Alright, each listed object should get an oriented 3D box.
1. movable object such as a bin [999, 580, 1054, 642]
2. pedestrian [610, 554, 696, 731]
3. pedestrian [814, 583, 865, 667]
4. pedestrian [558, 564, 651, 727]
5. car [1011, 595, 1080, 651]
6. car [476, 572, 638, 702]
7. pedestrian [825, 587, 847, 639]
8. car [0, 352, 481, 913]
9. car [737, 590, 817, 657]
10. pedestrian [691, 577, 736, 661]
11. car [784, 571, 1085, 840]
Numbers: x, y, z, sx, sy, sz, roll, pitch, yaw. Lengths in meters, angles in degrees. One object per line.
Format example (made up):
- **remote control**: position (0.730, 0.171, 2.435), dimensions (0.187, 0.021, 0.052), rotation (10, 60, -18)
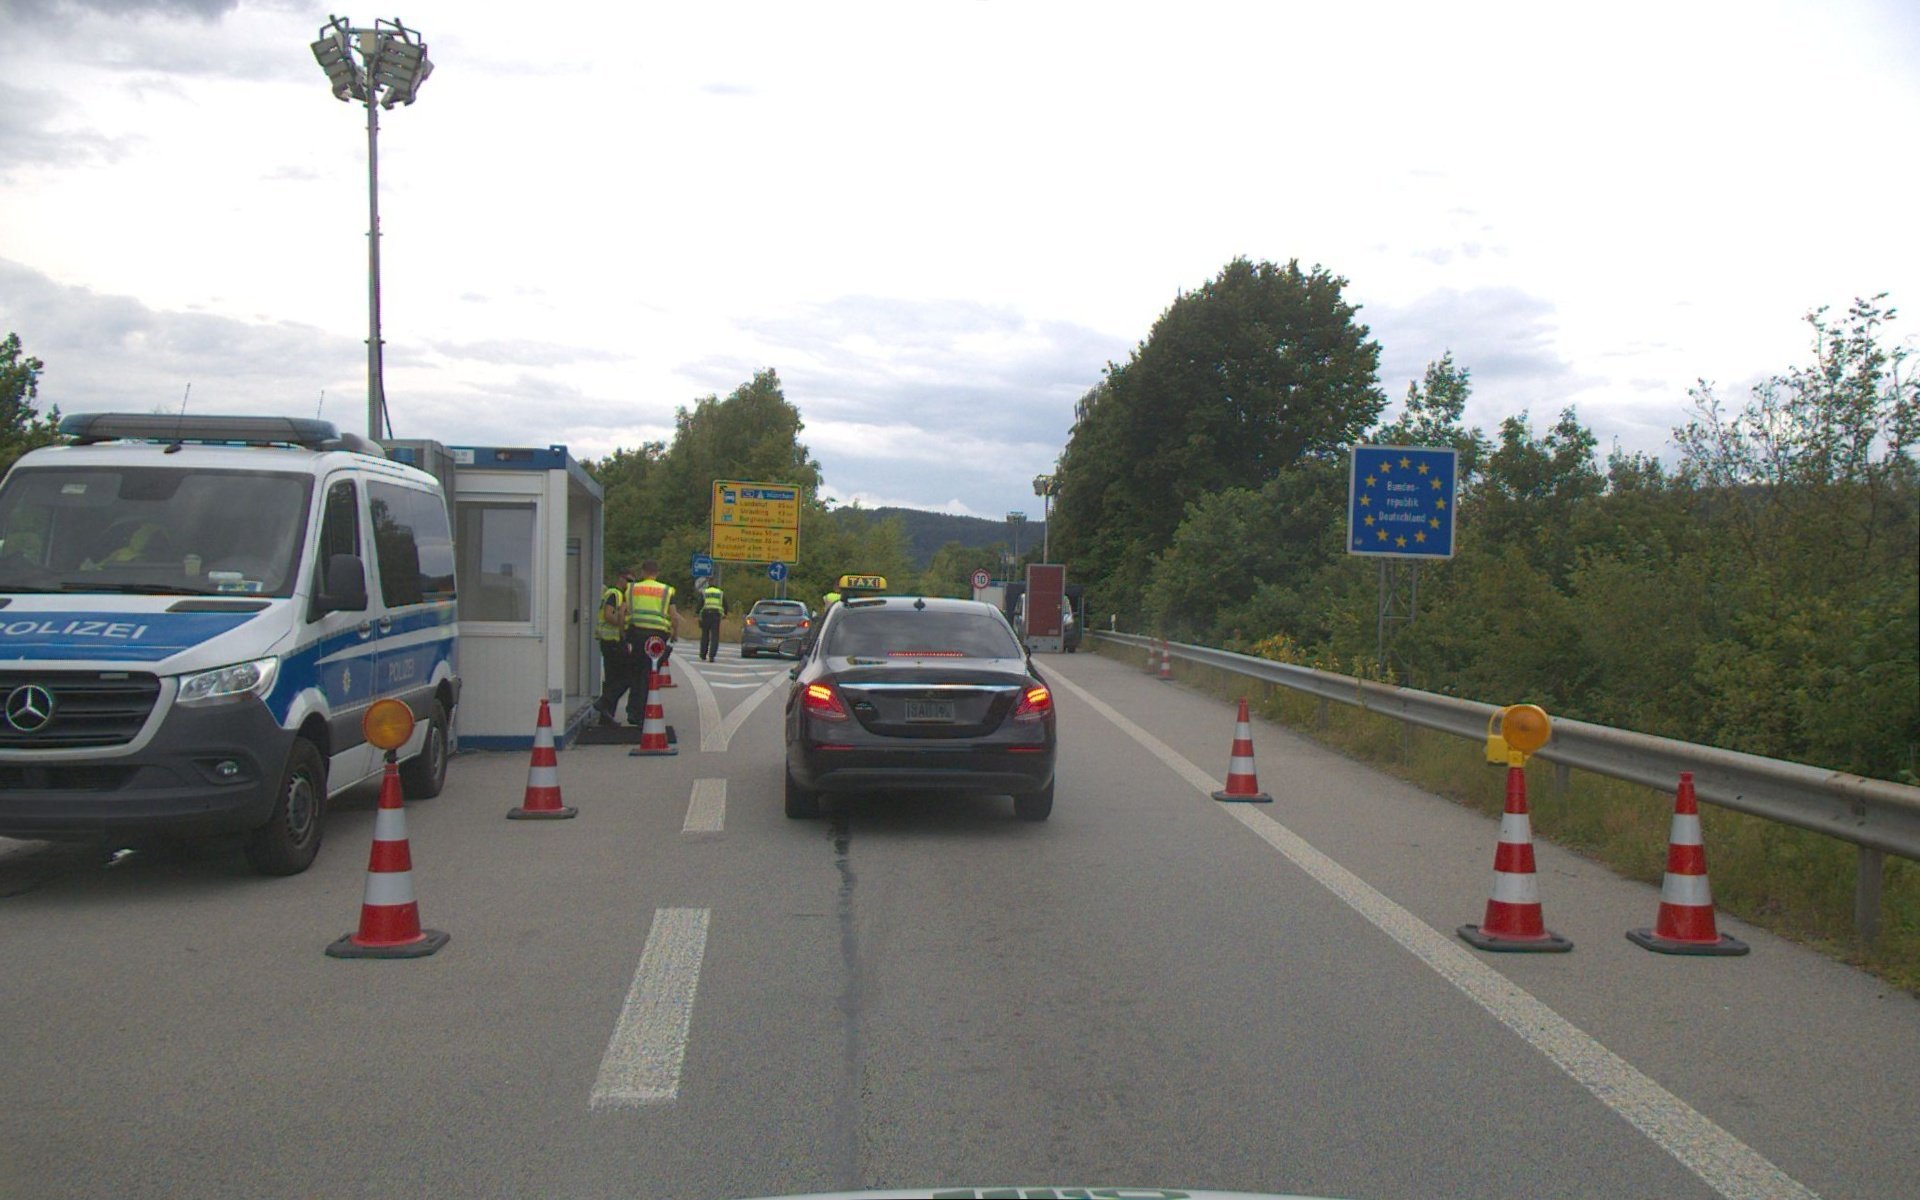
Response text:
- **movable object such as a bin**: position (2.555, 0.422, 64.409), dimensions (1.953, 2.320, 4.167), rotation (1, 0, 0)
- **pedestrian**: position (-3.308, 0.448, 17.875), dimensions (0.796, 1.862, 0.809), rotation (0, 0, -3)
- **pedestrian**: position (-2.502, 0.510, 34.292), dimensions (0.893, 1.727, 0.910), rotation (1, 0, -14)
- **pedestrian**: position (-3.918, 0.489, 18.283), dimensions (0.744, 1.748, 0.818), rotation (0, 0, 10)
- **car**: position (2.813, 0.741, 55.617), dimensions (1.877, 1.707, 5.082), rotation (3, 0, -1)
- **car**: position (-5.920, 0.505, 24.698), dimensions (1.833, 1.774, 4.002), rotation (1, 0, -7)
- **pedestrian**: position (-4.754, 0.485, 63.595), dimensions (0.650, 1.995, 0.760), rotation (0, 0, 13)
- **car**: position (-4.430, 0.136, 10.020), dimensions (1.990, 2.506, 5.272), rotation (1, 0, -6)
- **car**: position (-4.414, 0.542, 40.237), dimensions (1.819, 1.524, 4.252), rotation (1, 0, -5)
- **pedestrian**: position (-5.341, 0.410, 35.825), dimensions (0.893, 1.800, 0.911), rotation (1, 0, -13)
- **car**: position (-0.320, 0.642, 12.232), dimensions (1.819, 1.623, 4.371), rotation (1, 0, -5)
